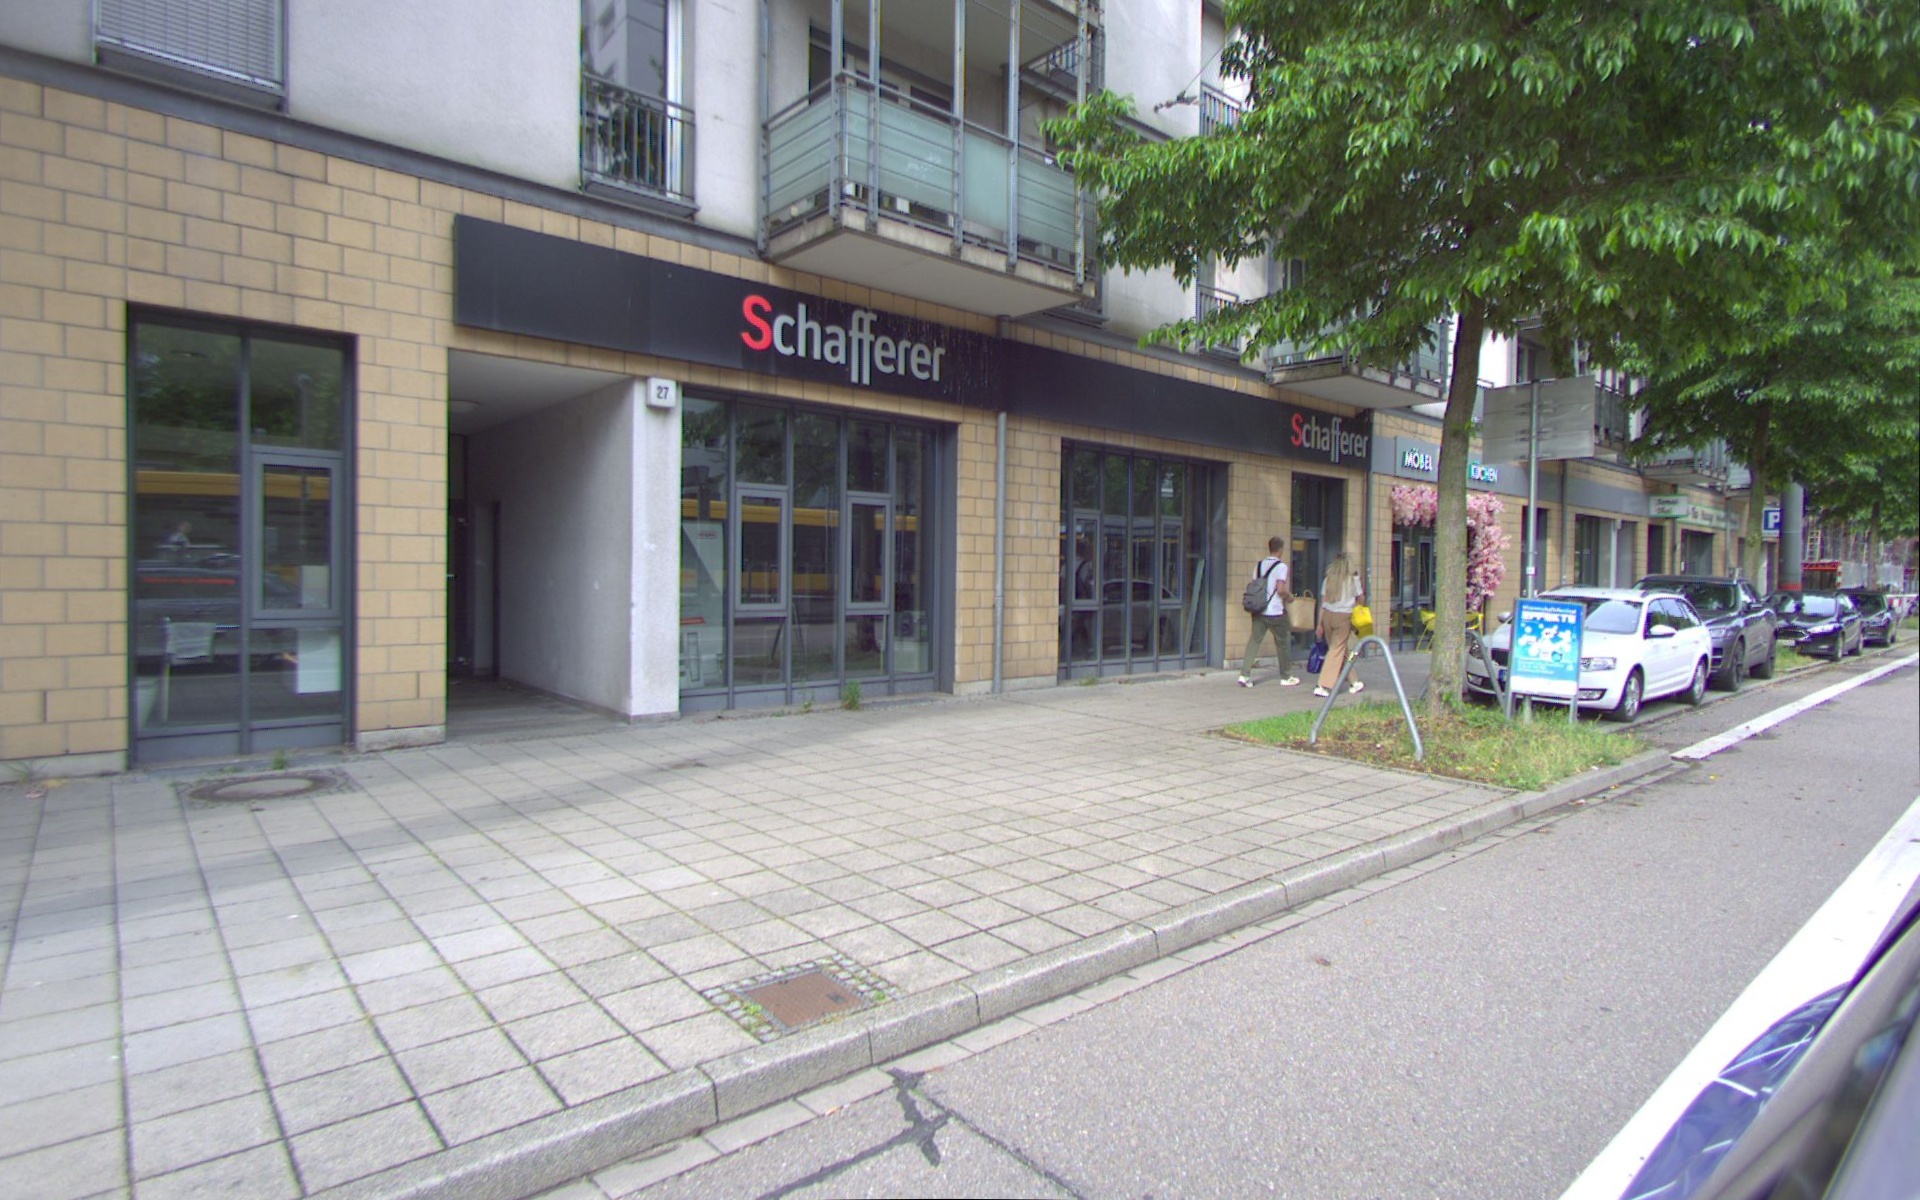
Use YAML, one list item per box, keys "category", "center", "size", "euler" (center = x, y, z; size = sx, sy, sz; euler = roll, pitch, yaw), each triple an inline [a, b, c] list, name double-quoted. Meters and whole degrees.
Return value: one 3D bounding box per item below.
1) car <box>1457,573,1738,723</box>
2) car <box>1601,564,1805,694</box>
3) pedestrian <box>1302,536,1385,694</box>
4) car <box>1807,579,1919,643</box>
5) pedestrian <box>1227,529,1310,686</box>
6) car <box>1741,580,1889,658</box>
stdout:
- category: "car"
  center: [8.123, 0.465, 12.742]
  size: [4.312, 1.517, 1.681]
  euler: [-1, 4, -40]
- category: "car"
  center: [12.078, 0.345, 16.327]
  size: [4.632, 1.737, 1.715]
  euler: [-1, 5, -42]
- category: "pedestrian"
  center: [4.618, 0.157, 12.197]
  size: [0.724, 1.828, 0.617]
  euler: [0, 2, -39]
- category: "car"
  center: [24.363, 0.232, 27.248]
  size: [4.315, 1.472, 1.800]
  euler: [-1, 5, -43]
- category: "pedestrian"
  center: [3.892, 0.076, 12.788]
  size: [0.724, 1.914, 0.677]
  euler: [0, 2, -39]
- category: "car"
  center: [18.714, 0.336, 22.083]
  size: [4.329, 1.459, 1.681]
  euler: [-1, 4, -40]
